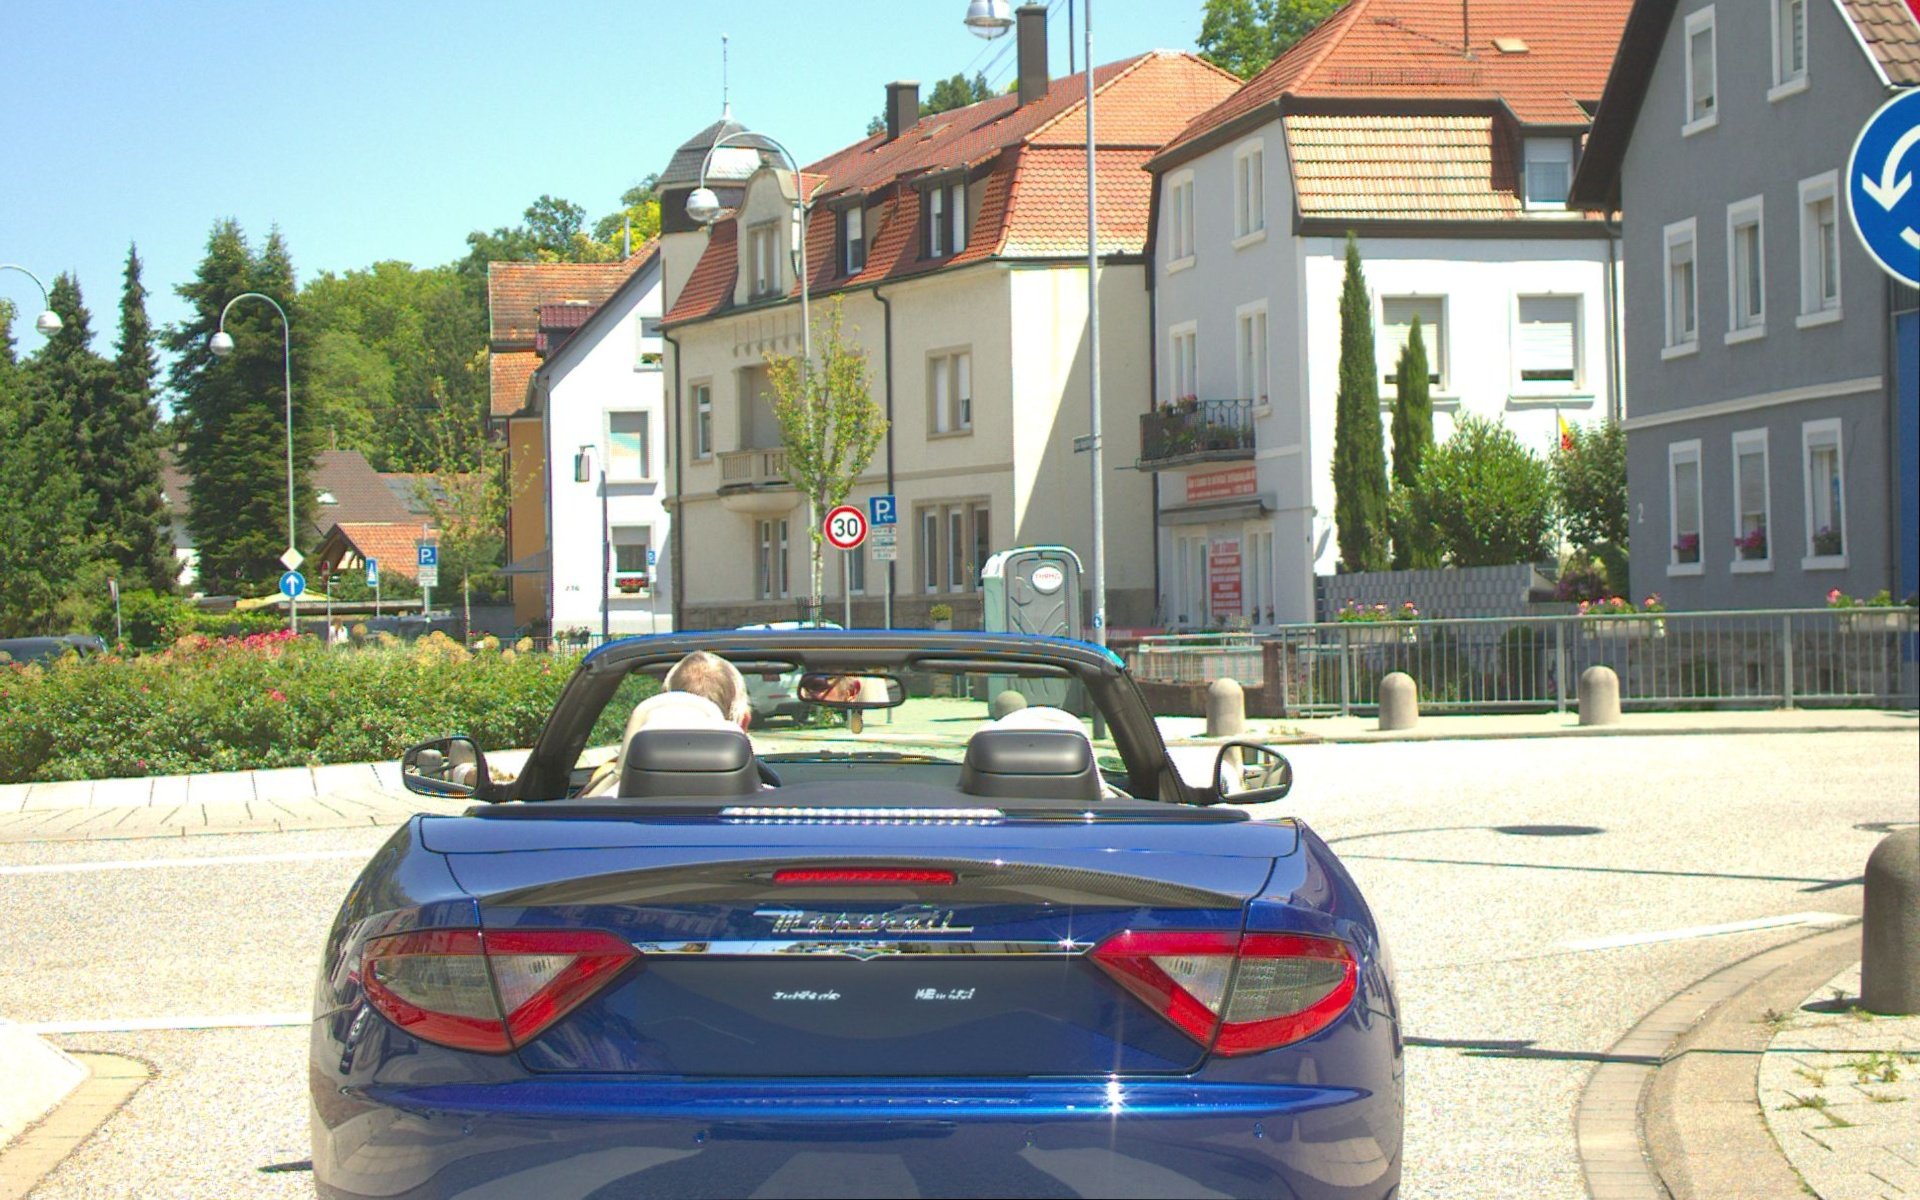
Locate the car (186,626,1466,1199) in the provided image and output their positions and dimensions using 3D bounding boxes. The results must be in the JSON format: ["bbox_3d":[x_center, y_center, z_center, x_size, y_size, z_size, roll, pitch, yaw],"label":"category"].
[{"bbox_3d":[-0.174,0.751,7.278,1.910,1.356,4.285,0,0,1],"label":"car"}]

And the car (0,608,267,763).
[{"bbox_3d":[-9.535,0.935,39.076,1.799,1.637,4.057,-2,-1,11],"label":"car"}]

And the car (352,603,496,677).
[{"bbox_3d":[-12.291,0.935,78.705,1.850,1.583,4.000,-3,0,-31],"label":"car"}]

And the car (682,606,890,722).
[{"bbox_3d":[-2.654,0.974,51.575,1.918,1.607,4.148,-2,-1,-20],"label":"car"}]

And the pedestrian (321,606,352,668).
[{"bbox_3d":[-16.284,0.968,89.761,0.611,1.580,0.587,-2,0,-27],"label":"pedestrian"}]
